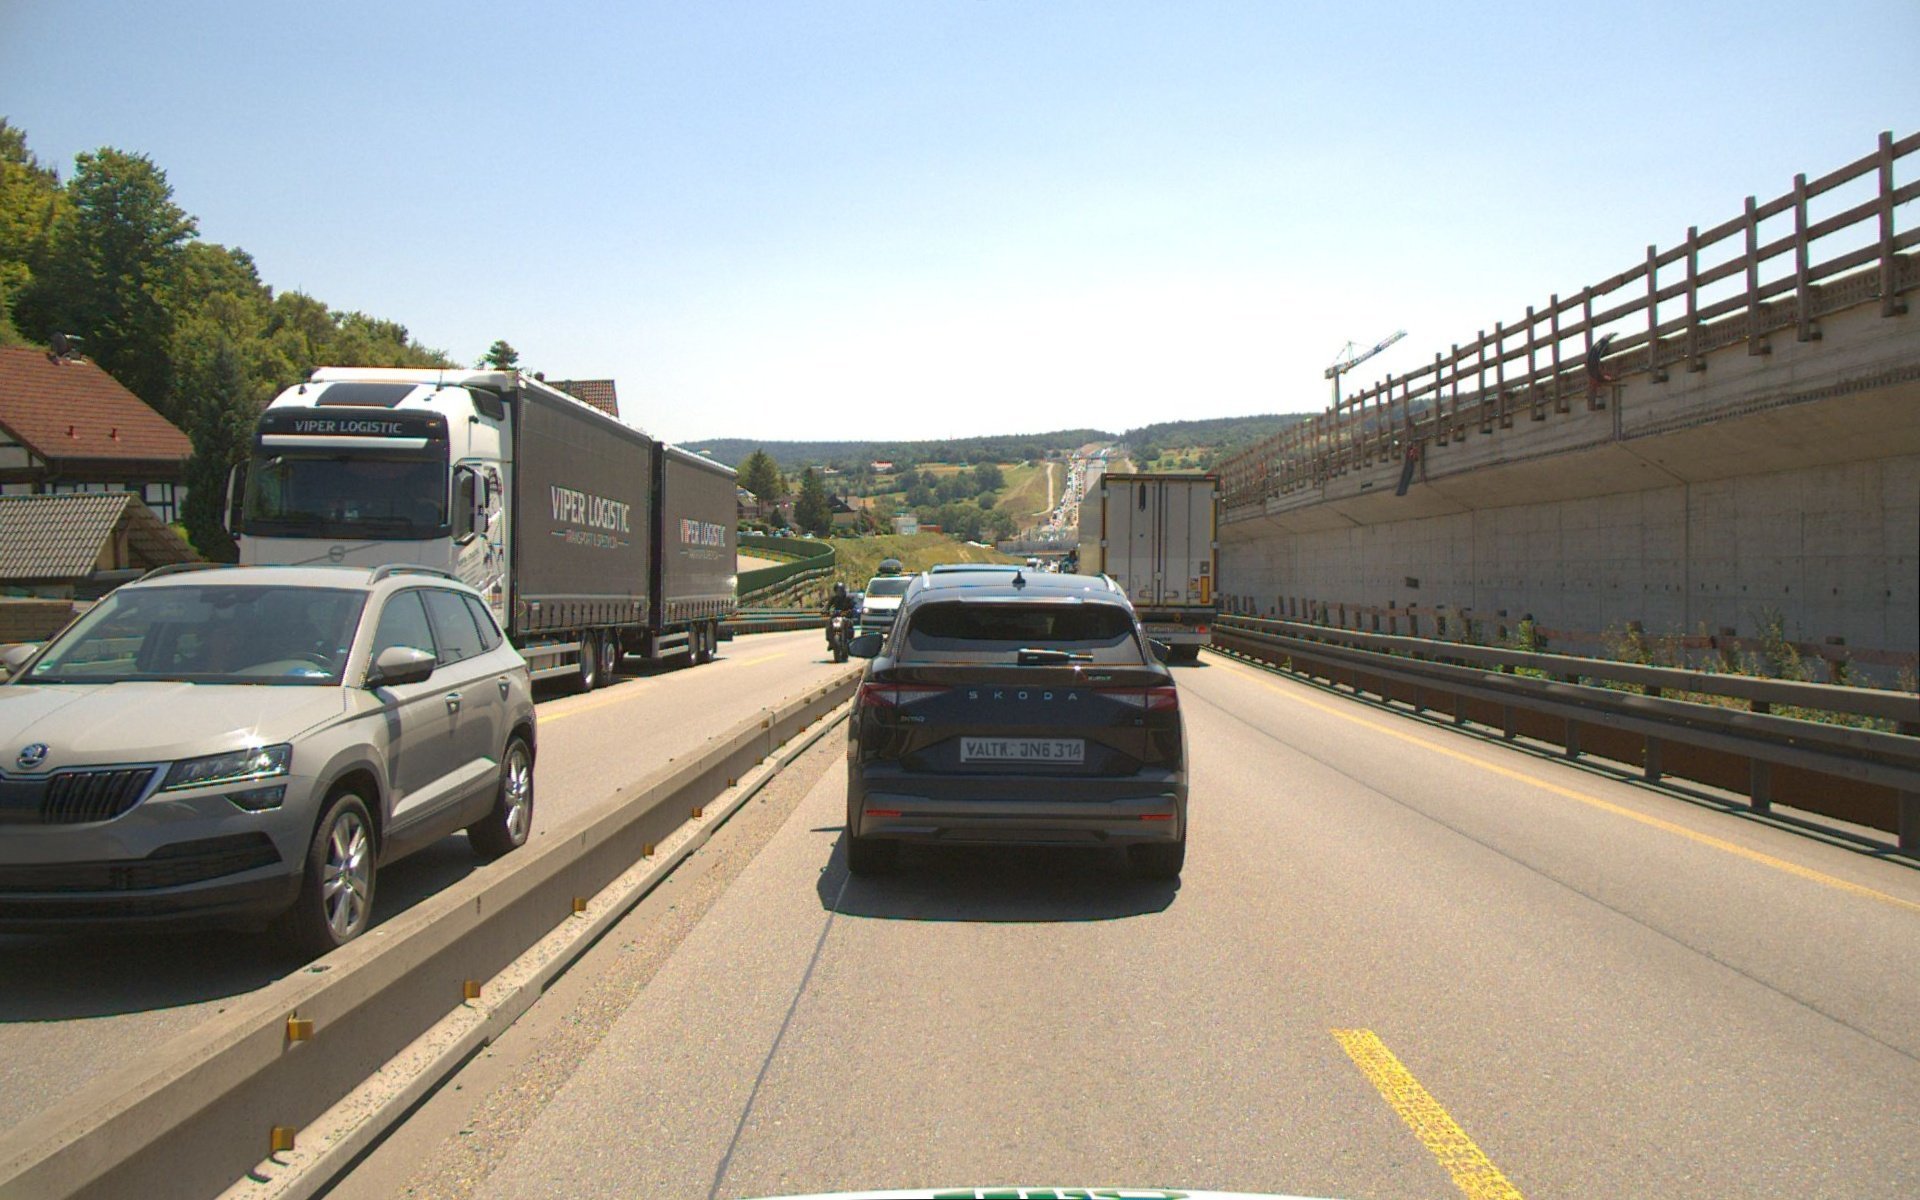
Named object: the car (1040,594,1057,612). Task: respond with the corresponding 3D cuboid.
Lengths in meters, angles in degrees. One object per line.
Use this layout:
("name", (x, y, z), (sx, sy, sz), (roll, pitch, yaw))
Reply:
("car", (9.212, 0.317, 171.656), (1.665, 1.758, 3.838), (1, -1, 3))

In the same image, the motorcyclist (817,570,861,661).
("motorcyclist", (-2.557, 0.314, 34.935), (0.836, 1.887, 0.983), (1, 0, 0))

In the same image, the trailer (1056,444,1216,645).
("trailer", (4.049, -1.097, 40.707), (2.480, 4.199, 11.544), (1, -1, -1))

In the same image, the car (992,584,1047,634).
("car", (2.035, 0.276, 57.802), (1.672, 1.650, 3.999), (1, 1, -1))

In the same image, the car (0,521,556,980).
("car", (-3.344, 0.560, 7.978), (1.821, 1.639, 4.068), (1, -1, -1))

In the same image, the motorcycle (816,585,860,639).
("motorcycle", (-2.572, 0.243, 35.014), (0.770, 1.098, 1.912), (1, 0, 0))

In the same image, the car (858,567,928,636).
("car", (-2.026, 0.071, 51.348), (1.981, 1.995, 4.898), (1, -1, 0))

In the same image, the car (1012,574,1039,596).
("car", (5.126, -1.136, 129.693), (1.953, 1.613, 3.836), (1, -1, 0))

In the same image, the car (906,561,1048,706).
("car", (0.166, 0.415, 23.986), (1.673, 1.914, 3.996), (1, 1, -5))

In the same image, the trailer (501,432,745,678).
("trailer", (-6.286, -0.837, 32.402), (2.700, 4.141, 8.637), (1, 1, 2))

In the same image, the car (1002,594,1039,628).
("car", (3.107, 0.574, 86.022), (1.672, 1.650, 3.999), (1, 1, -1))

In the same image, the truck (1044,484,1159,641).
("truck", (3.923, -0.938, 47.638), (2.462, 4.095, 8.236), (1, -1, -1))

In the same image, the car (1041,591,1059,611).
("car", (8.303, 0.066, 152.682), (1.665, 1.758, 3.838), (1, -1, 3))

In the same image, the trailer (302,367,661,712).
("trailer", (-6.541, -0.805, 24.079), (2.700, 4.141, 8.009), (1, 1, 1))

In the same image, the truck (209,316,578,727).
("truck", (-6.640, -0.861, 20.193), (2.695, 4.358, 4.957), (1, 0, 0))

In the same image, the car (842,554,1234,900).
("car", (0.242, 0.627, 9.753), (1.806, 1.614, 3.903), (1, -1, -5))

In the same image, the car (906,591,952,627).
("car", (-1.371, 0.424, 74.271), (1.953, 1.530, 4.648), (1, -1, 0))

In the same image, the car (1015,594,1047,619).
("car", (4.725, 0.467, 110.025), (1.953, 1.613, 3.836), (1, -1, 0))

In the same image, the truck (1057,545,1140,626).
("truck", (5.924, -0.505, 72.706), (3.128, 3.247, 12.812), (0, -1, 2))
